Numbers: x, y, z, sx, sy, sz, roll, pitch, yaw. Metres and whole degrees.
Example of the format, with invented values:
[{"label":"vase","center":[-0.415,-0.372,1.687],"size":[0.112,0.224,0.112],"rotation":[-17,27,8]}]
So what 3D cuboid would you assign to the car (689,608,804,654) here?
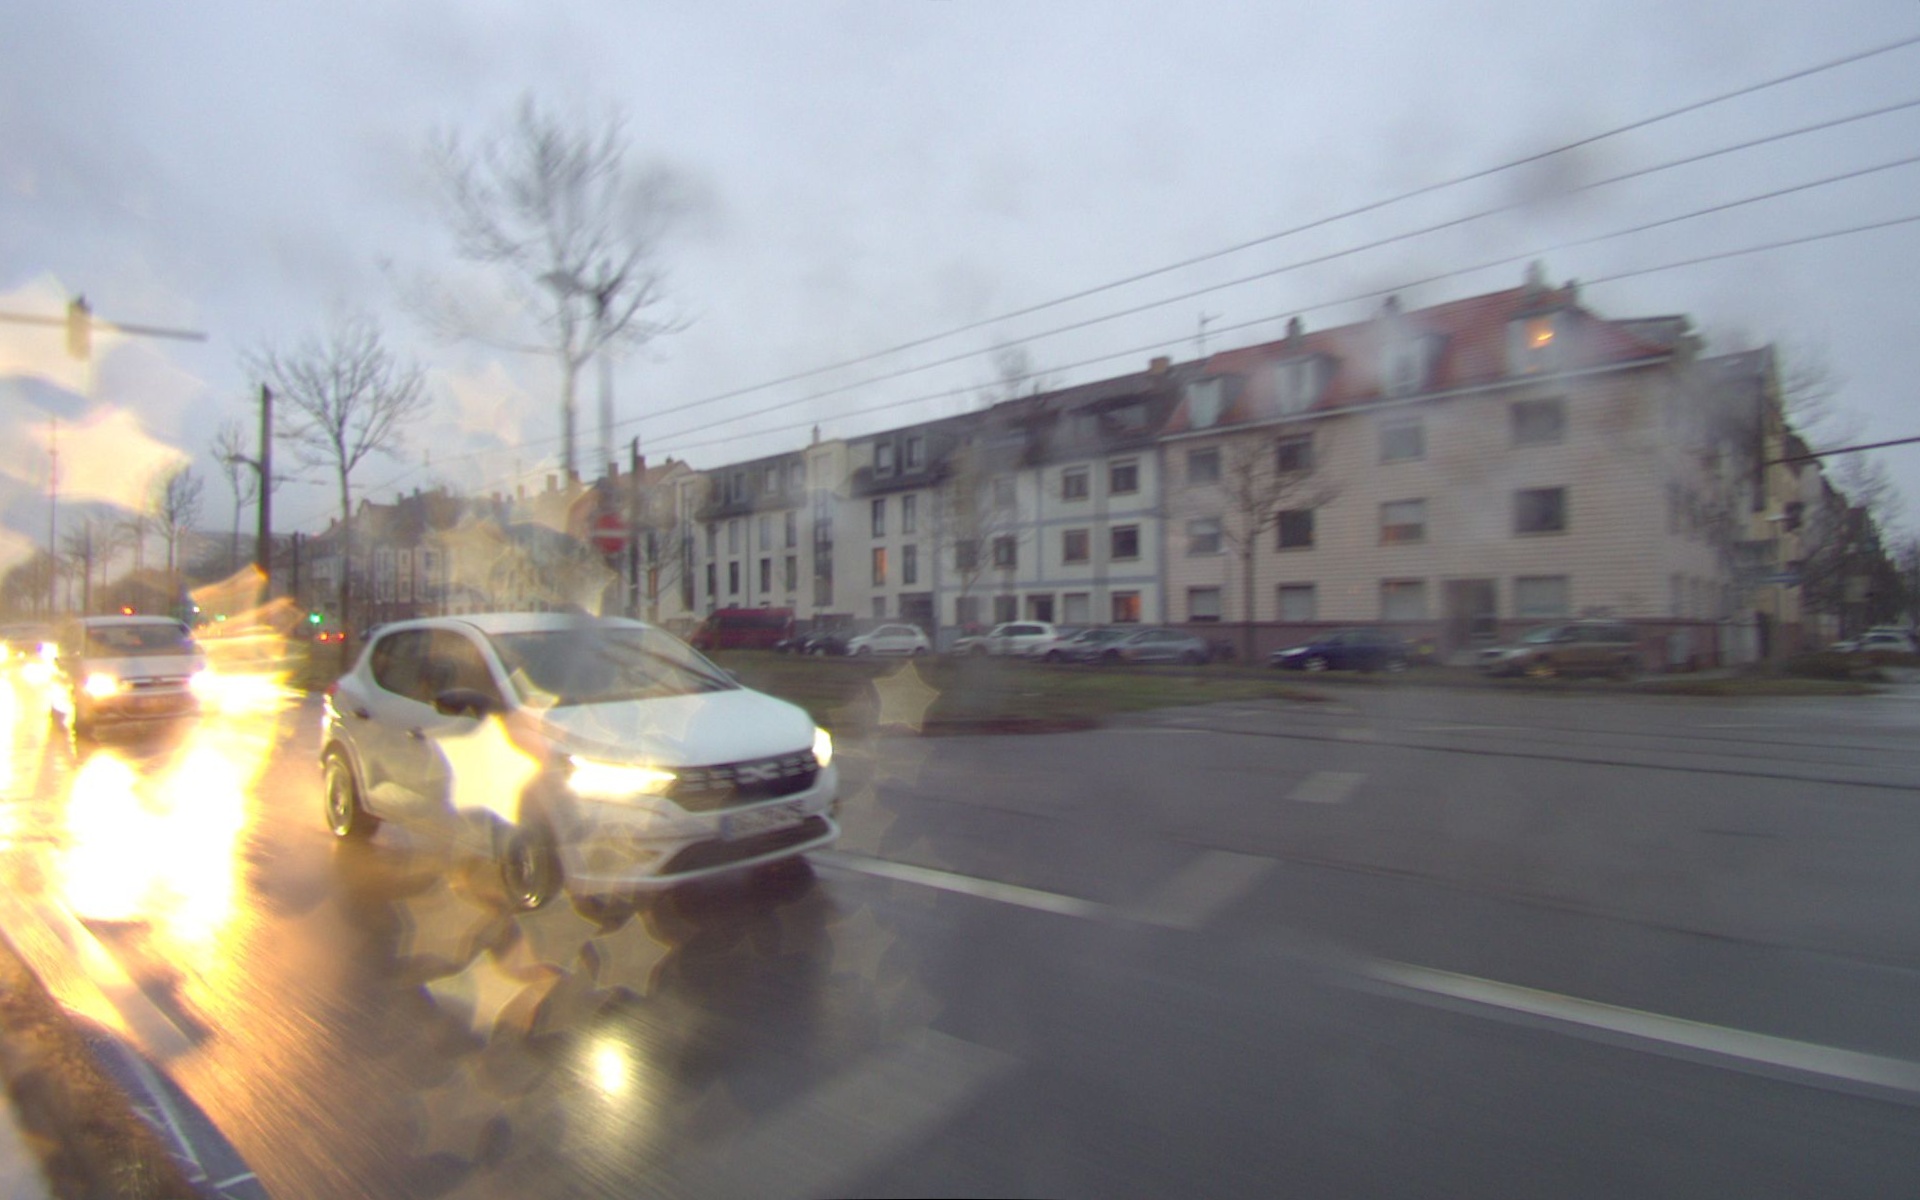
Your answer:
[{"label":"car","center":[-11.226,1.599,53.264],"size":[5.811,2.271,1.826],"rotation":[-1,0,-13]}]

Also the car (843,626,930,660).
[{"label":"car","center":[-3.184,1.850,43.687],"size":[3.548,1.395,1.317],"rotation":[-1,-2,-15]}]

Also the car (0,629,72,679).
[{"label":"car","center":[-30.835,1.766,33.357],"size":[4.091,1.513,1.949],"rotation":[-2,-1,43]}]

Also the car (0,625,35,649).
[{"label":"car","center":[-70.928,2.751,76.104],"size":[3.644,1.668,1.706],"rotation":[-1,0,43]}]

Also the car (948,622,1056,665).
[{"label":"car","center":[1.605,1.646,38.975],"size":[3.947,1.516,1.316],"rotation":[-1,0,-11]}]

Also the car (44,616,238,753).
[{"label":"car","center":[-12.262,1.116,15.052],"size":[1.992,1.690,4.004],"rotation":[-1,0,-43]}]

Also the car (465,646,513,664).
[{"label":"car","center":[-33.336,3.880,71.646],"size":[2.771,1.073,1.315],"rotation":[-1,0,-44]}]

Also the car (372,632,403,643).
[{"label":"car","center":[-53.163,3.477,94.006],"size":[2.257,0.994,1.126],"rotation":[-1,0,-43]}]

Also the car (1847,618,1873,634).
[{"label":"car","center":[107.022,3.110,120.269],"size":[3.940,1.796,2.002],"rotation":[-1,0,-44]}]

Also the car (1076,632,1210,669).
[{"label":"car","center":[6.211,1.690,34.359],"size":[4.333,1.140,1.251],"rotation":[0,0,-12]}]

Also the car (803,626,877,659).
[{"label":"car","center":[-5.465,1.937,46.024],"size":[3.153,1.395,1.317],"rotation":[-1,-2,-15]}]

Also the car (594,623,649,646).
[{"label":"car","center":[-20.875,2.111,62.585],"size":[3.151,1.326,1.556],"rotation":[-1,0,-16]}]

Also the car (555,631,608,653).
[{"label":"car","center":[-24.927,2.781,66.697],"size":[3.152,1.326,1.555],"rotation":[-1,0,-14]}]

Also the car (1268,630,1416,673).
[{"label":"car","center":[11.329,1.511,30.064],"size":[3.935,1.140,1.365],"rotation":[-1,0,-11]}]

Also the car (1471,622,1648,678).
[{"label":"car","center":[15.237,1.252,25.775],"size":[3.933,1.265,1.448],"rotation":[-1,0,-13]}]

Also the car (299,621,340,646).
[{"label":"car","center":[-55.128,2.876,87.118],"size":[3.998,2.029,1.973],"rotation":[-1,0,42]}]

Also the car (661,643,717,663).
[{"label":"car","center":[-15.349,2.999,57.403],"size":[3.057,1.014,1.189],"rotation":[-1,-2,-12]}]

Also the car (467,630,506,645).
[{"label":"car","center":[-37.998,2.976,81.224],"size":[2.590,1.114,1.256],"rotation":[-1,0,-44]}]

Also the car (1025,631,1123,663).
[{"label":"car","center":[4.121,1.696,36.691],"size":[3.260,1.140,1.316],"rotation":[0,-2,-12]}]

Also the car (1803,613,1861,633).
[{"label":"car","center":[68.022,1.791,79.000],"size":[3.411,1.448,1.411],"rotation":[-1,0,39]}]

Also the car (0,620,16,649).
[{"label":"car","center":[-58.574,2.098,61.362],"size":[3.644,1.668,1.706],"rotation":[-1,0,43]}]

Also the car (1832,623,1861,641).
[{"label":"car","center":[92.677,3.330,105.767],"size":[3.940,1.796,2.002],"rotation":[-1,0,-44]}]

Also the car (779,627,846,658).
[{"label":"car","center":[-7.072,2.030,48.291],"size":[3.057,1.395,1.316],"rotation":[-1,-2,-12]}]

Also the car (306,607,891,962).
[{"label":"car","center":[-2.434,0.803,6.248],"size":[3.998,1.477,1.690],"rotation":[-1,0,42]}]

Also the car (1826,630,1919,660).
[{"label":"car","center":[48.124,2.358,53.235],"size":[3.517,1.448,1.550],"rotation":[-1,0,16]}]
